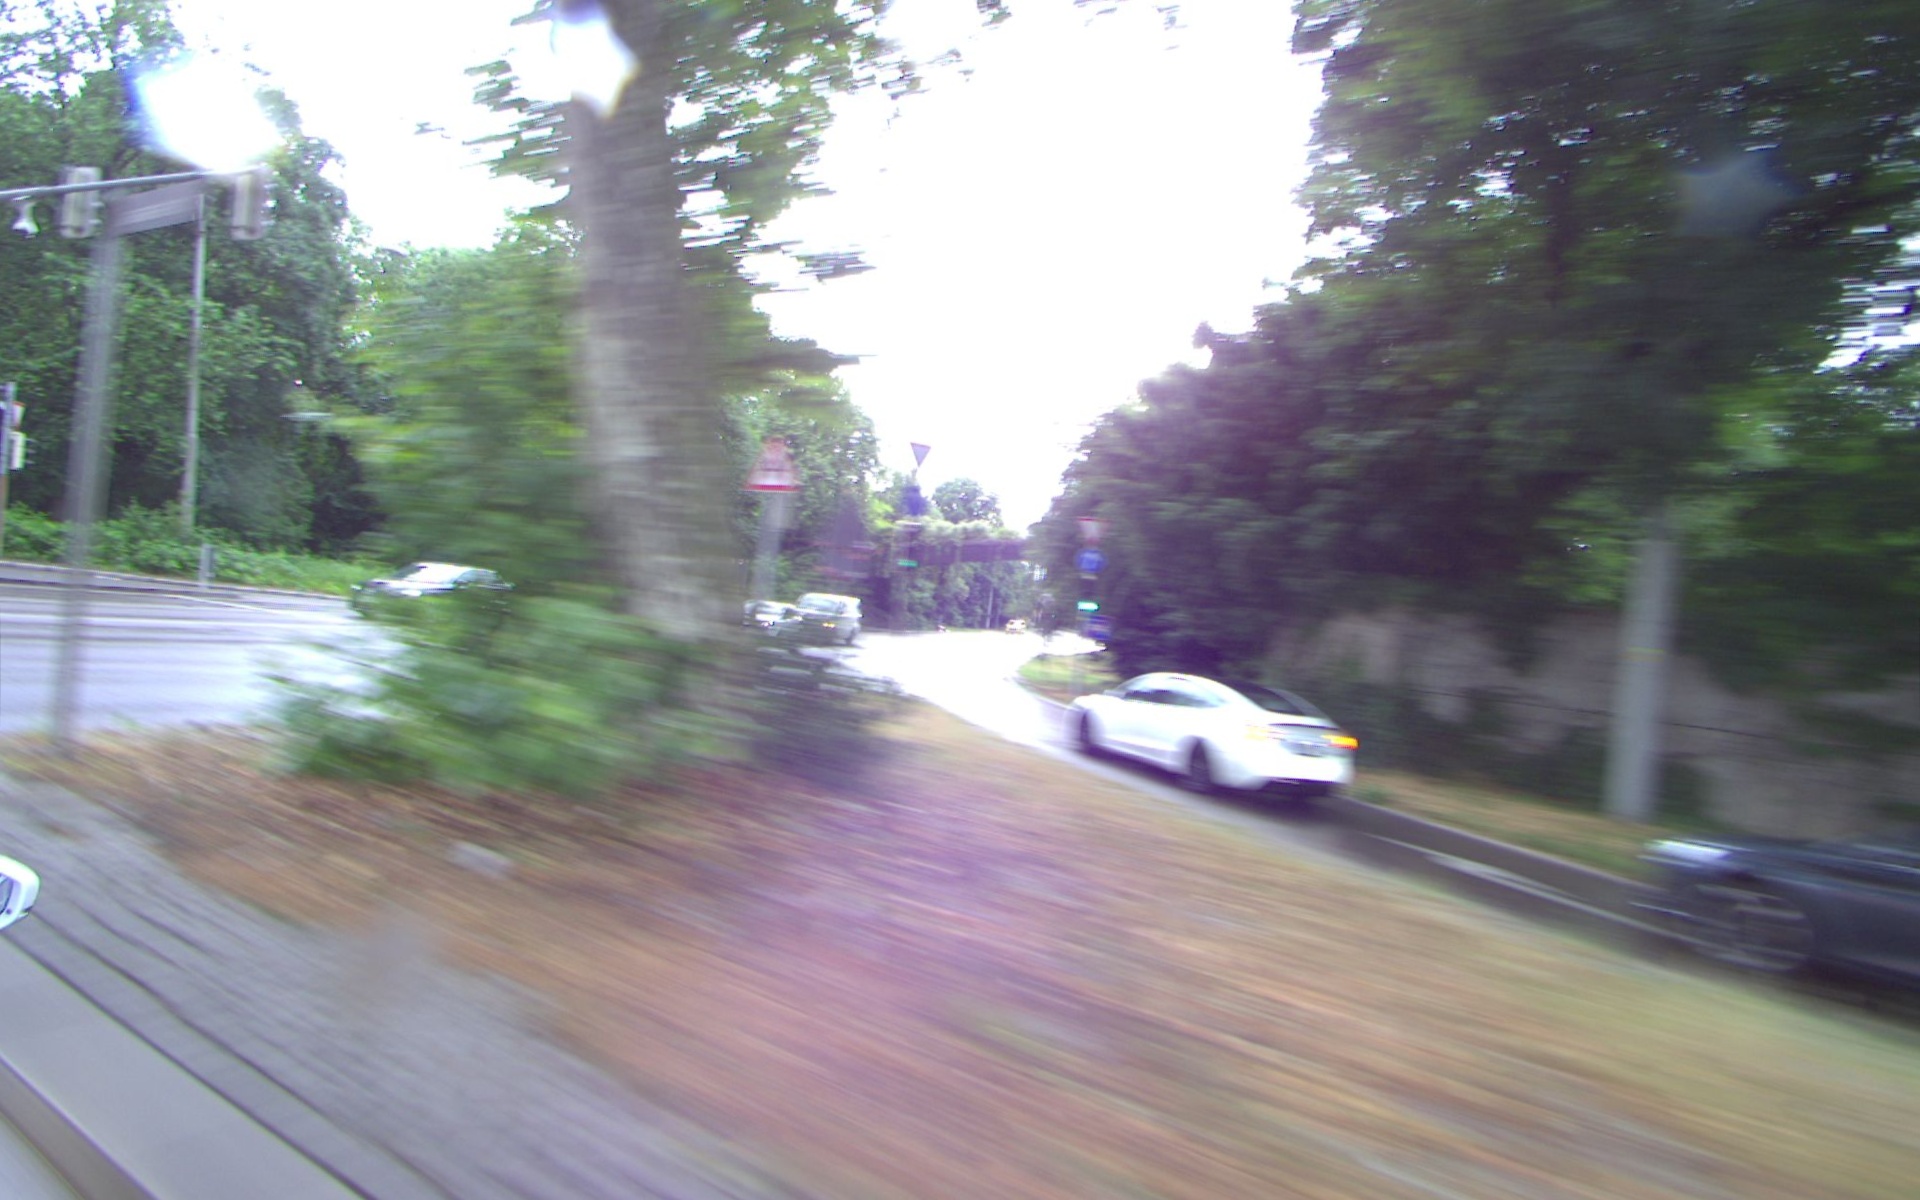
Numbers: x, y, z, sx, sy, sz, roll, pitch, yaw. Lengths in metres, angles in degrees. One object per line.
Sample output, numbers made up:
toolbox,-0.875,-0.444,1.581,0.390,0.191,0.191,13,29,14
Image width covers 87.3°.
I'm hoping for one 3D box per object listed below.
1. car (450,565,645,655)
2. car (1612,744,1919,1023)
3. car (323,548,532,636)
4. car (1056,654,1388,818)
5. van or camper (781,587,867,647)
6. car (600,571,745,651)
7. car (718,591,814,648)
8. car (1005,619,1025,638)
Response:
car,-9.121,0.312,22.675,1.759,1.476,4.208,7,-3,14
car,6.817,2.002,6.115,1.737,1.418,4.382,11,-4,-29
car,-12.470,-0.121,23.904,1.913,1.456,4.221,7,-3,14
car,3.320,1.723,13.810,1.835,1.465,4.594,8,-2,-23
van or camper,-5.443,0.748,40.991,1.870,1.969,4.872,7,-2,10
car,-7.963,0.383,28.316,1.871,1.698,4.218,7,-3,14
car,-6.627,0.728,34.805,1.627,1.477,3.872,7,-3,14
car,7.307,3.785,133.535,1.849,1.996,3.893,7,-3,12
